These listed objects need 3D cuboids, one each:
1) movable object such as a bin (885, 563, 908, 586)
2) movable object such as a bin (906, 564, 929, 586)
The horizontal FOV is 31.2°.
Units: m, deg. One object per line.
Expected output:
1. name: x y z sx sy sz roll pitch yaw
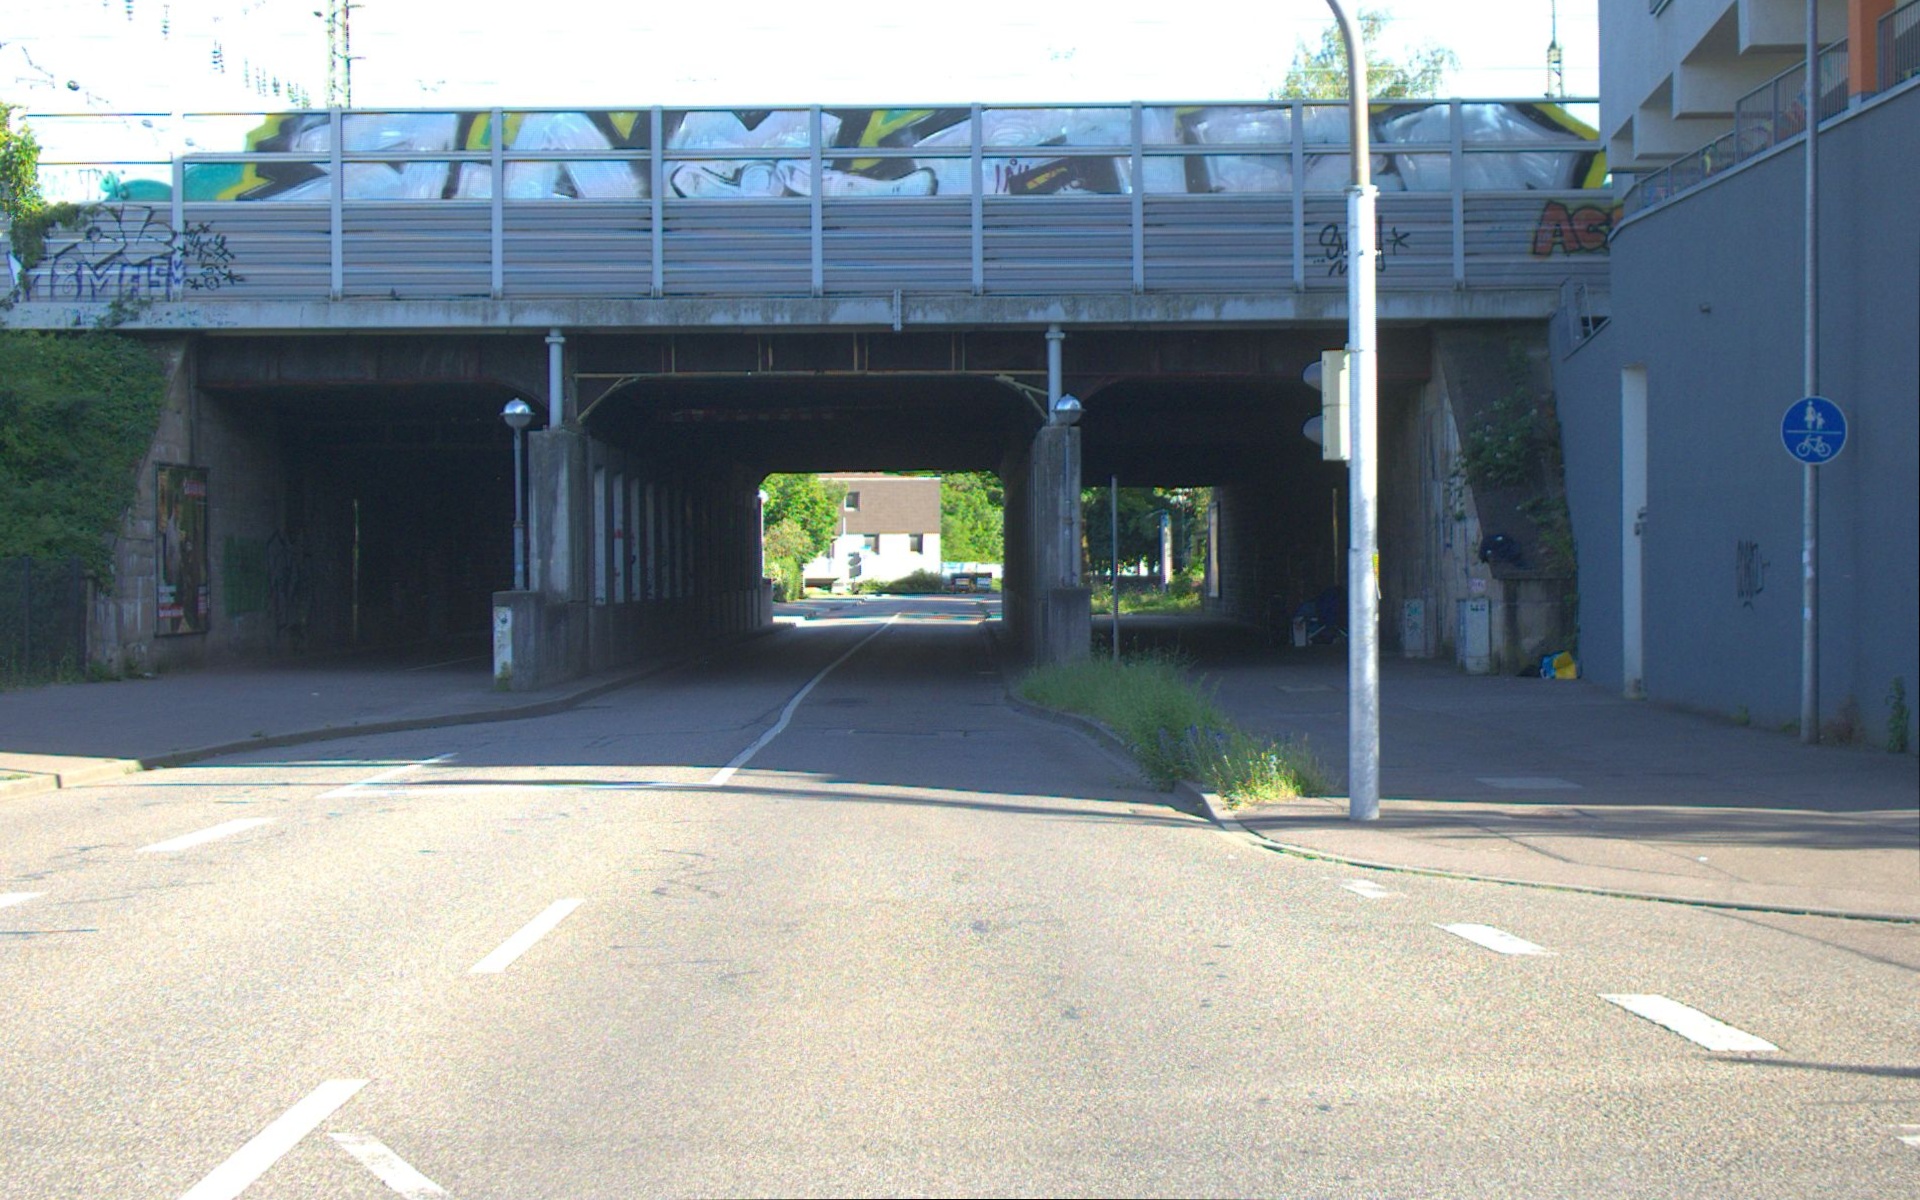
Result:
1. movable object such as a bin: -4.178 -1.673 225.688 1.364 1.413 1.066 2 -1 -7
2. movable object such as a bin: -2.763 -1.630 225.847 1.364 1.413 1.066 2 -1 -7
